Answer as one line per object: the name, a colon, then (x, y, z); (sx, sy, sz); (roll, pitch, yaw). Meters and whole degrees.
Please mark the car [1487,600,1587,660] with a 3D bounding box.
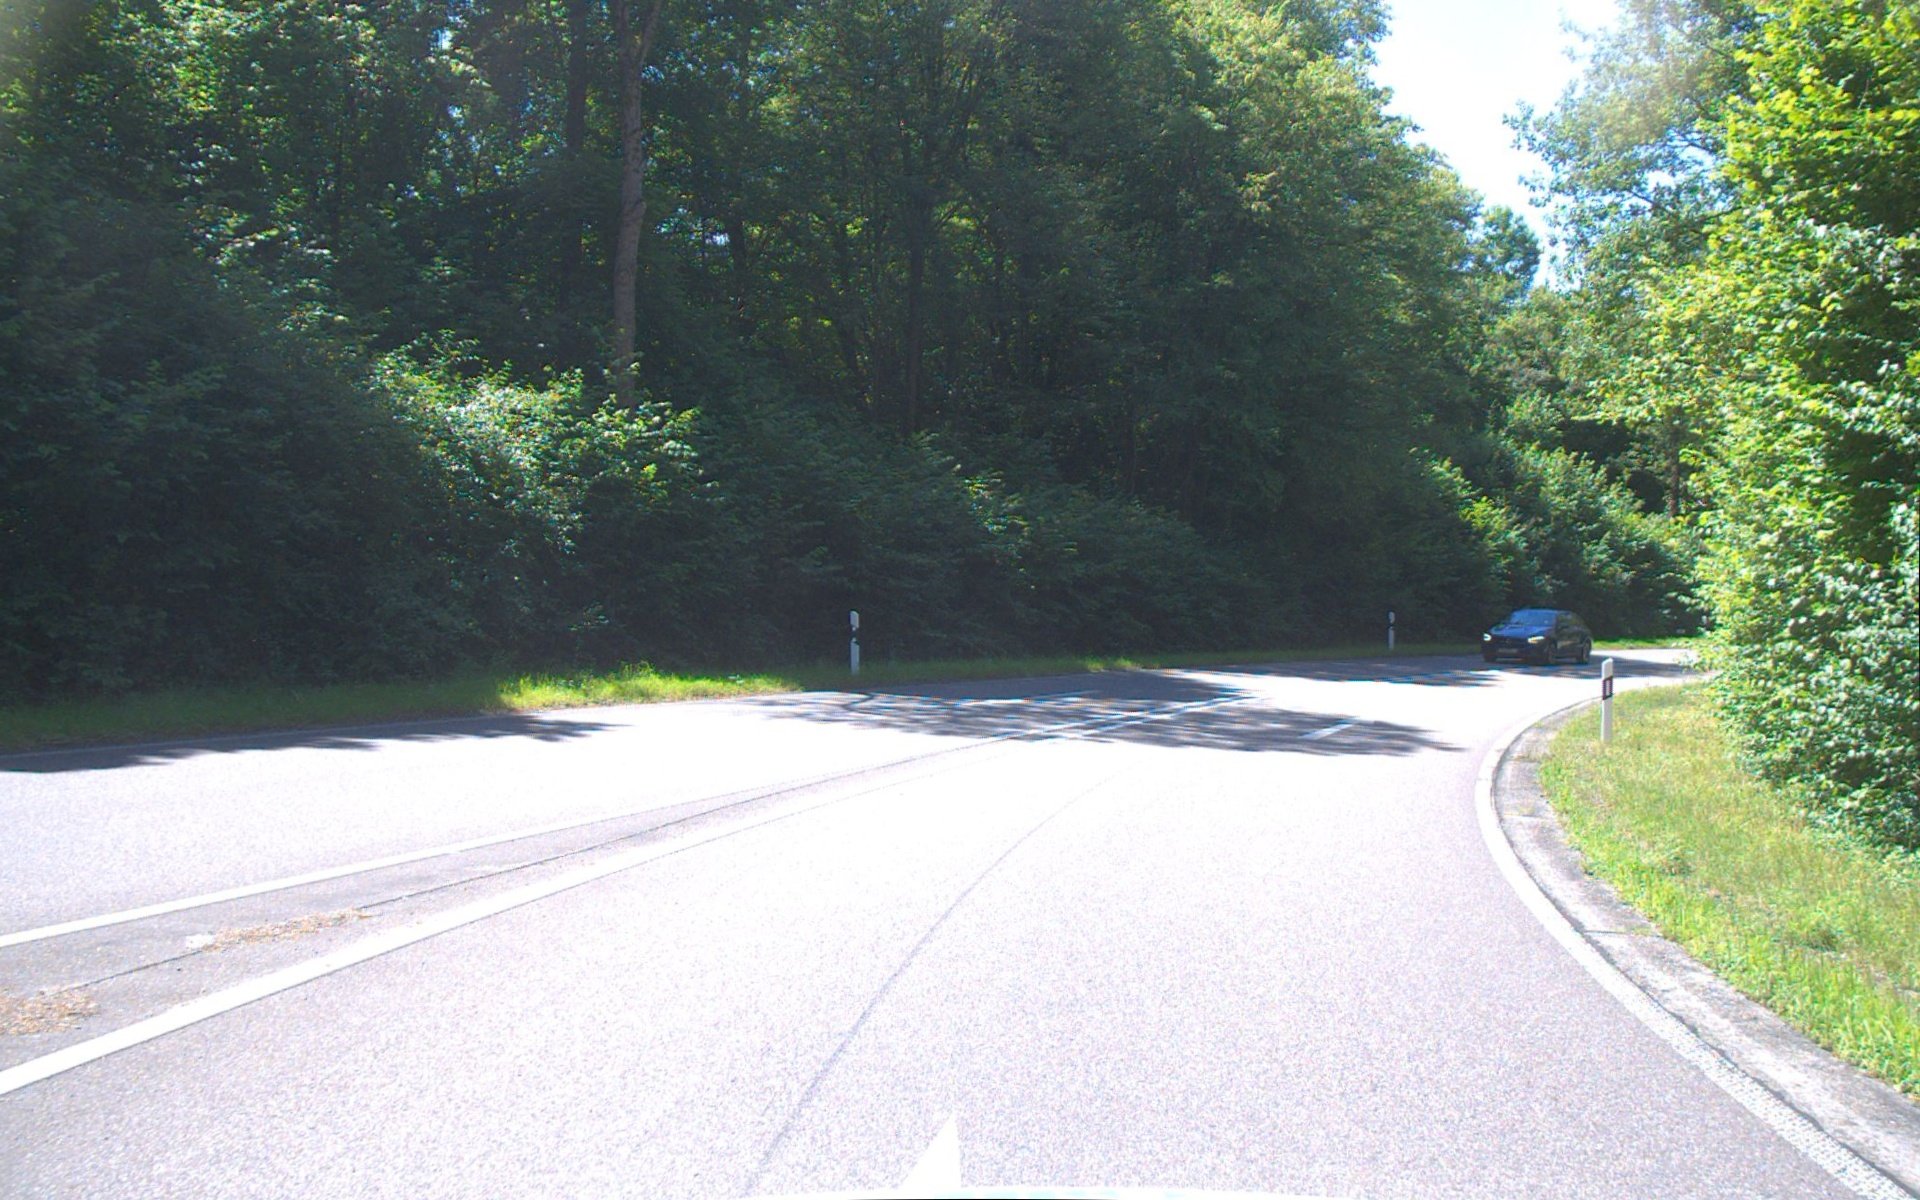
car: (15.710, 0.806, 44.938); (1.712, 1.477, 3.645); (3, 1, 33)
